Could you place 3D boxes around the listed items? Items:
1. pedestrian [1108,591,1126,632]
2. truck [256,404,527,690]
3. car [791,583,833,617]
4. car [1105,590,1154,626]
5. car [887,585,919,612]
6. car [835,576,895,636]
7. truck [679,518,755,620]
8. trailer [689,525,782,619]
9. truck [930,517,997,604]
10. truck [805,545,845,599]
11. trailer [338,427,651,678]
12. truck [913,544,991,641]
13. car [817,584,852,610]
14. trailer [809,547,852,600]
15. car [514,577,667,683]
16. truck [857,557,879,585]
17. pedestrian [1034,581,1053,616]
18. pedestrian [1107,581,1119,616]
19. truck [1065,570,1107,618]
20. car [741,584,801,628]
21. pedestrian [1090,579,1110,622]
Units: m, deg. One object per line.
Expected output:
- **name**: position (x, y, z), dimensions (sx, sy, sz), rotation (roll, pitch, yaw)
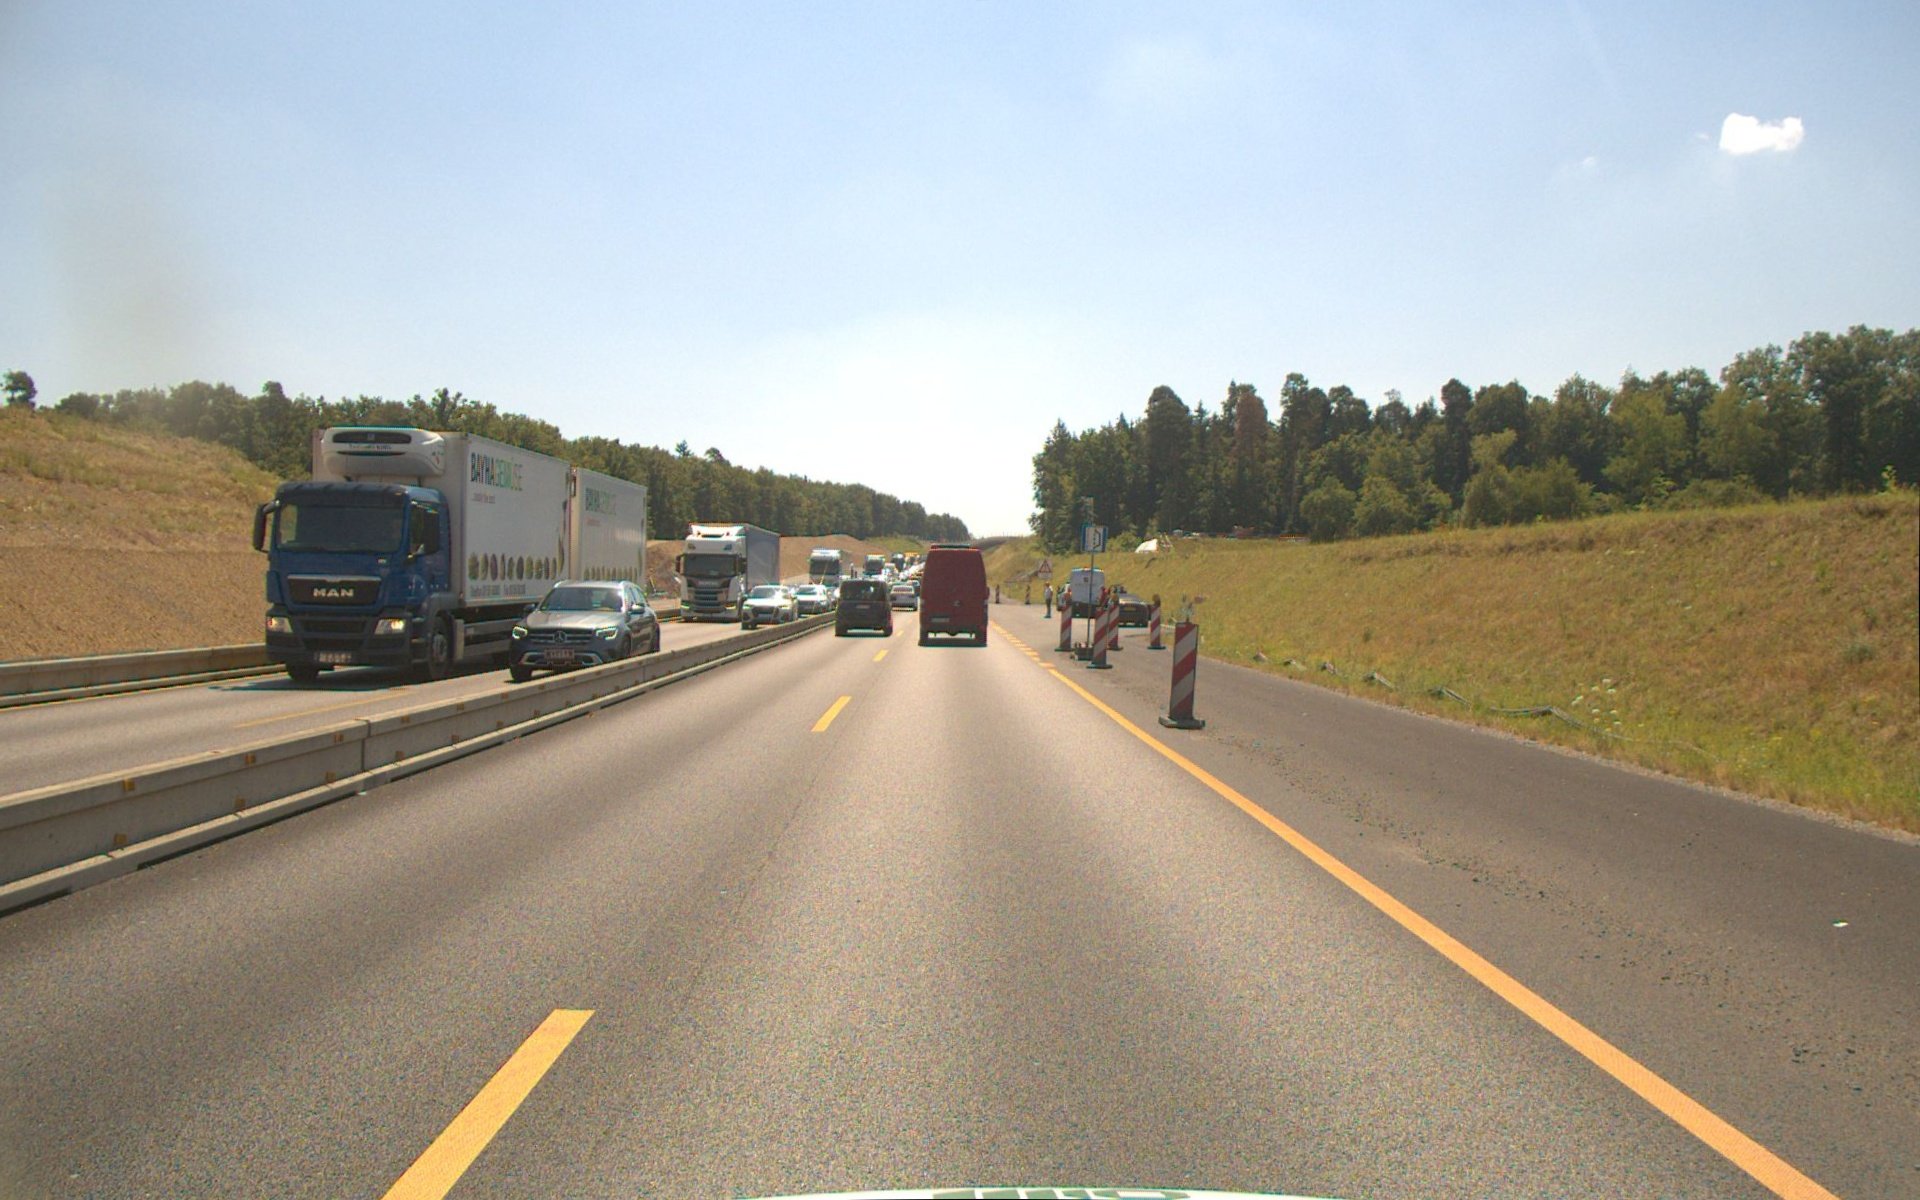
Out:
- **pedestrian**: position (7.186, 0.527, 75.706), dimensions (0.613, 1.860, 0.640), rotation (1, 1, -13)
- **truck**: position (-9.359, -0.811, 27.933), dimensions (2.440, 4.272, 5.912), rotation (-1, 0, 0)
- **car**: position (-7.132, -0.013, 79.981), dimensions (1.740, 1.582, 4.138), rotation (-1, 1, -2)
- **car**: position (7.433, 0.316, 72.837), dimensions (1.620, 1.451, 4.545), rotation (-2, 1, 0)
- **car**: position (-3.430, -0.087, 99.574), dimensions (1.794, 1.548, 3.960), rotation (1, 0, -1)
- **car**: position (-3.104, 0.155, 54.699), dimensions (1.716, 1.856, 4.782), rotation (1, 1, -1)
- **truck**: position (-10.302, -1.305, 70.569), dimensions (2.539, 4.124, 5.148), rotation (1, 0, -2)
- **trailer**: position (-10.384, -1.249, 77.926), dimensions (2.599, 4.007, 13.994), rotation (1, 0, -1)
- **truck**: position (0.168, -2.565, 117.277), dimensions (4.310, 5.592, 16.600), rotation (1, 0, -1)
- **truck**: position (-10.754, -2.196, 132.465), dimensions (2.712, 4.114, 4.943), rotation (1, -1, 0)
- **trailer**: position (-9.415, -0.850, 36.055), dimensions (2.451, 4.252, 15.532), rotation (-1, 0, 0)
- **truck**: position (-0.267, -0.183, 48.433), dimensions (2.109, 2.635, 5.332), rotation (1, 0, -1)
- **car**: position (-7.138, -0.171, 94.285), dimensions (1.694, 1.411, 4.859), rotation (1, 0, -1)
- **trailer**: position (-10.836, -2.186, 139.310), dimensions (2.734, 4.146, 13.709), rotation (1, 1, -1)
- **car**: position (-6.277, 0.494, 28.588), dimensions (1.654, 1.642, 4.592), rotation (1, 0, -1)
- **truck**: position (-13.021, -4.062, 233.842), dimensions (2.457, 3.680, 9.640), rotation (1, 0, 0)
- **pedestrian**: position (4.415, -0.086, 87.276), dimensions (0.713, 1.860, 0.715), rotation (1, -1, -23)
- **pedestrian**: position (8.046, -0.090, 86.961), dimensions (0.552, 1.827, 0.667), rotation (1, -1, -2)
- **truck**: position (6.947, -0.354, 90.877), dimensions (2.084, 2.499, 5.930), rotation (1, 1, 6)
- **car**: position (-6.830, 0.237, 60.110), dimensions (1.771, 1.514, 4.242), rotation (1, 0, -2)
- **pedestrian**: position (6.133, 0.000, 72.462), dimensions (0.631, 1.860, 0.555), rotation (1, 1, -22)
